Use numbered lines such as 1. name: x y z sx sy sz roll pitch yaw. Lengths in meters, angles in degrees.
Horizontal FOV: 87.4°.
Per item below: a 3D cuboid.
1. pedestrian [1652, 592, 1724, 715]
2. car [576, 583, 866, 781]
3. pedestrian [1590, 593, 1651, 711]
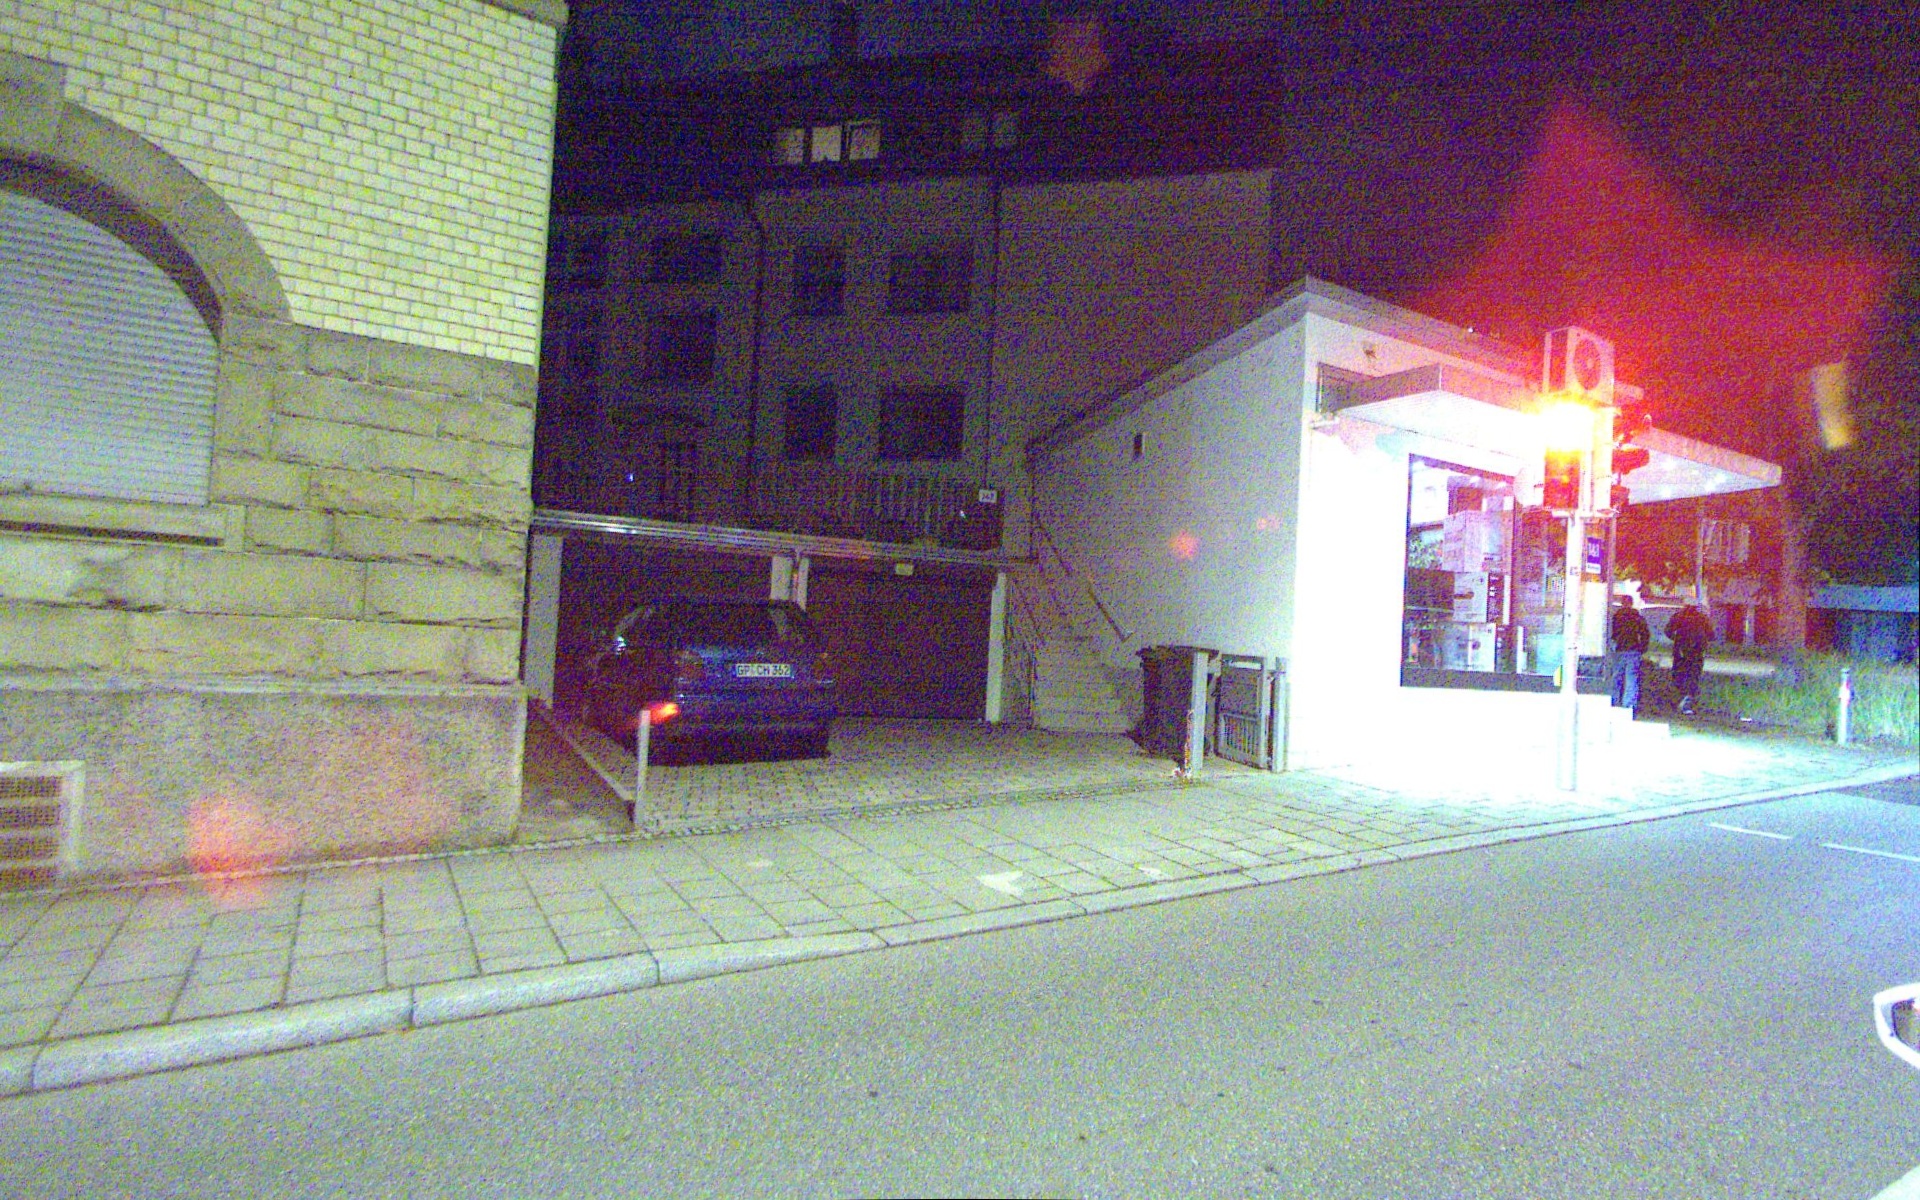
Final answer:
1. pedestrian: 11.086 0.803 15.303 0.729 1.801 0.567 2 2 -30
2. car: -2.446 0.617 9.581 1.700 1.460 3.631 2 0 -30
3. pedestrian: 10.129 0.786 15.406 0.537 1.754 0.567 2 0 -30
